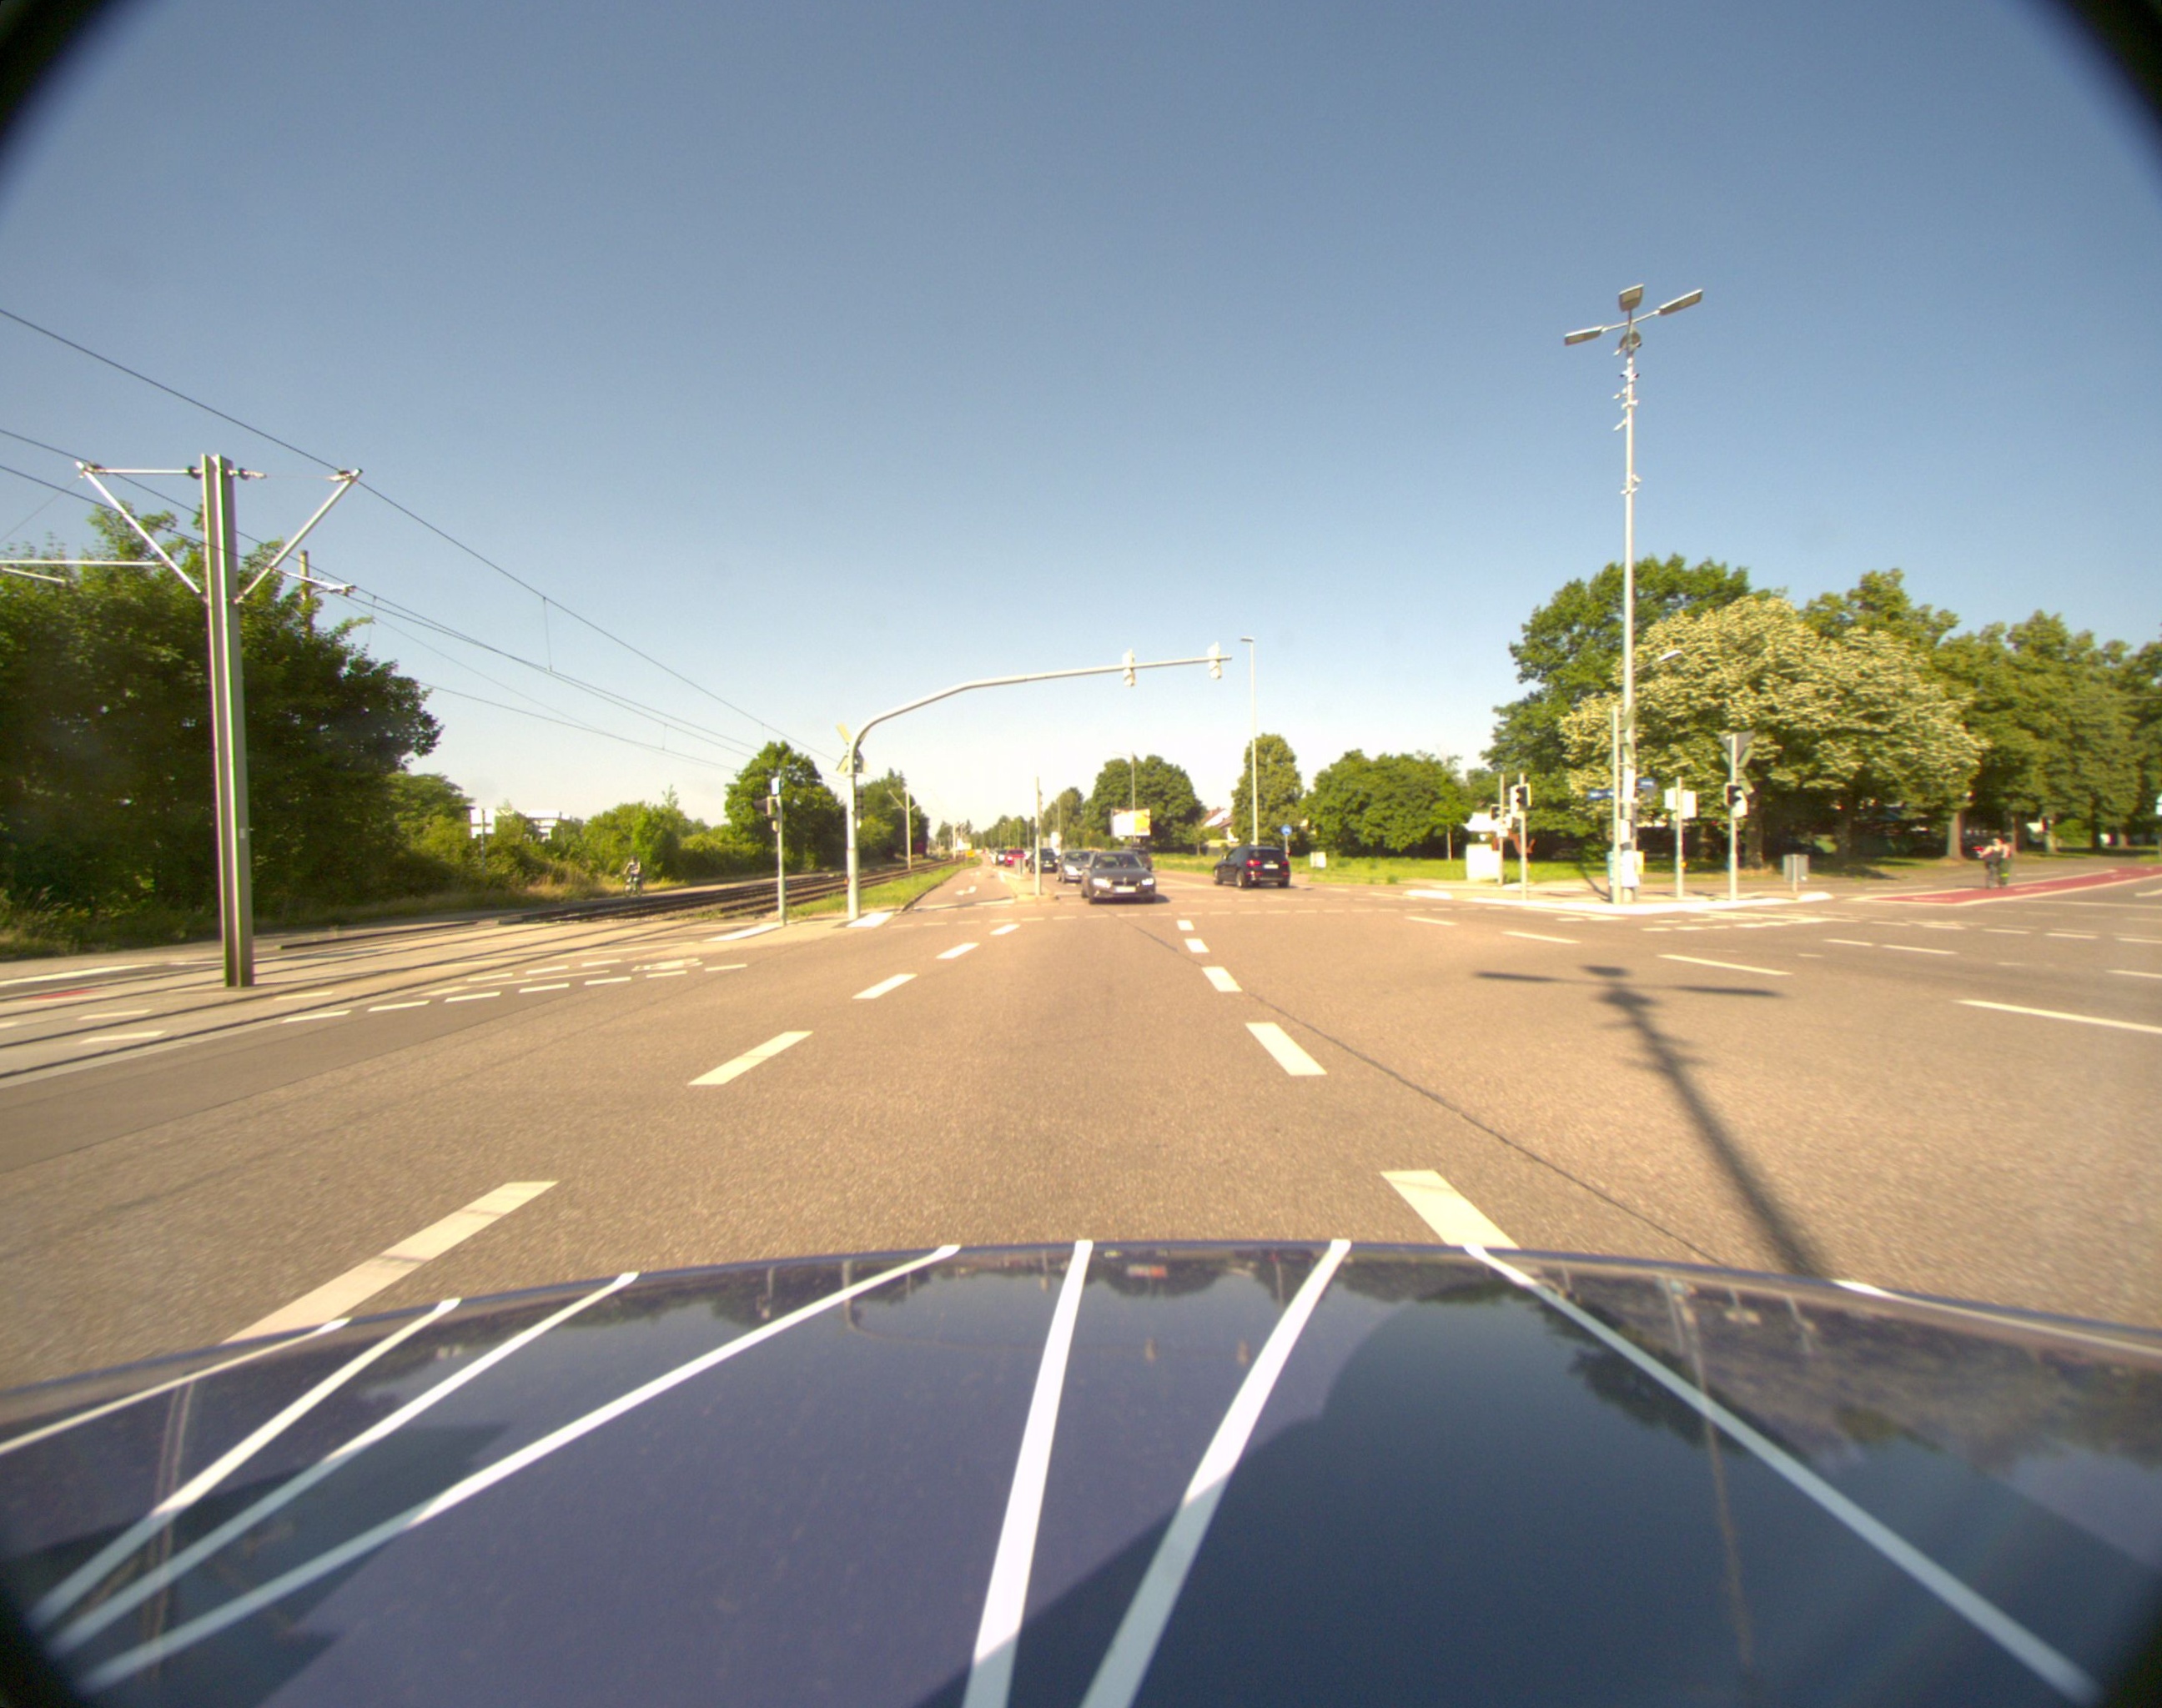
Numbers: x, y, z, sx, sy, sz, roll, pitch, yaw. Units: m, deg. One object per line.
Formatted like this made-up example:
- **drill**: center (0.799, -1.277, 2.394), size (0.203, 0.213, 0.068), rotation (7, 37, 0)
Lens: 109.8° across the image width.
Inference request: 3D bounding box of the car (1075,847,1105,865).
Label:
- **car**: center (0.745, 0.170, 66.211), size (1.895, 1.465, 4.096), rotation (-1, 1, -9)

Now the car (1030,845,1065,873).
- **car**: center (-2.233, 0.275, 49.398), size (1.822, 1.641, 4.607), rotation (-2, 1, -8)

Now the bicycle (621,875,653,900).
- **bicycle**: center (-20.023, 1.498, 34.296), size (0.547, 1.041, 1.872), rotation (-1, 1, -7)

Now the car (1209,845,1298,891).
- **car**: center (6.664, 0.473, 29.883), size (1.995, 1.649, 4.381), rotation (0, 1, -8)

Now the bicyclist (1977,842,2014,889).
- **bicyclist**: center (30.581, 0.380, 25.409), size (0.628, 1.515, 0.617), rotation (-2, 0, -23)

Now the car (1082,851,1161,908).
- **car**: center (1.061, 0.659, 22.031), size (1.821, 1.416, 4.459), rotation (-1, 1, -3)

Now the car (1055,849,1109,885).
- **car**: center (-0.038, 0.530, 34.646), size (1.822, 1.481, 4.607), rotation (-1, 1, -8)

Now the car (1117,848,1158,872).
- **car**: center (3.739, 0.357, 51.022), size (1.795, 1.511, 3.996), rotation (-1, 1, -10)

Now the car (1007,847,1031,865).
- **car**: center (-5.524, 0.190, 67.592), size (1.808, 1.498, 4.193), rotation (-2, 1, -8)

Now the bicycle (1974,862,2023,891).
- **bicycle**: center (30.606, 0.741, 25.339), size (1.812, 0.898, 0.653), rotation (-2, 1, -27)

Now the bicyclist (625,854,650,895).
- **bicyclist**: center (-20.044, 0.915, 34.334), size (0.708, 1.797, 0.717), rotation (-2, 1, -8)

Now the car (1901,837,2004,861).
- **car**: center (50.774, -0.335, 44.422), size (1.523, 1.313, 4.774), rotation (-1, 1, 14)

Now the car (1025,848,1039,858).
- **car**: center (-7.121, -0.165, 110.014), size (1.708, 1.456, 4.365), rotation (0, 1, -8)
